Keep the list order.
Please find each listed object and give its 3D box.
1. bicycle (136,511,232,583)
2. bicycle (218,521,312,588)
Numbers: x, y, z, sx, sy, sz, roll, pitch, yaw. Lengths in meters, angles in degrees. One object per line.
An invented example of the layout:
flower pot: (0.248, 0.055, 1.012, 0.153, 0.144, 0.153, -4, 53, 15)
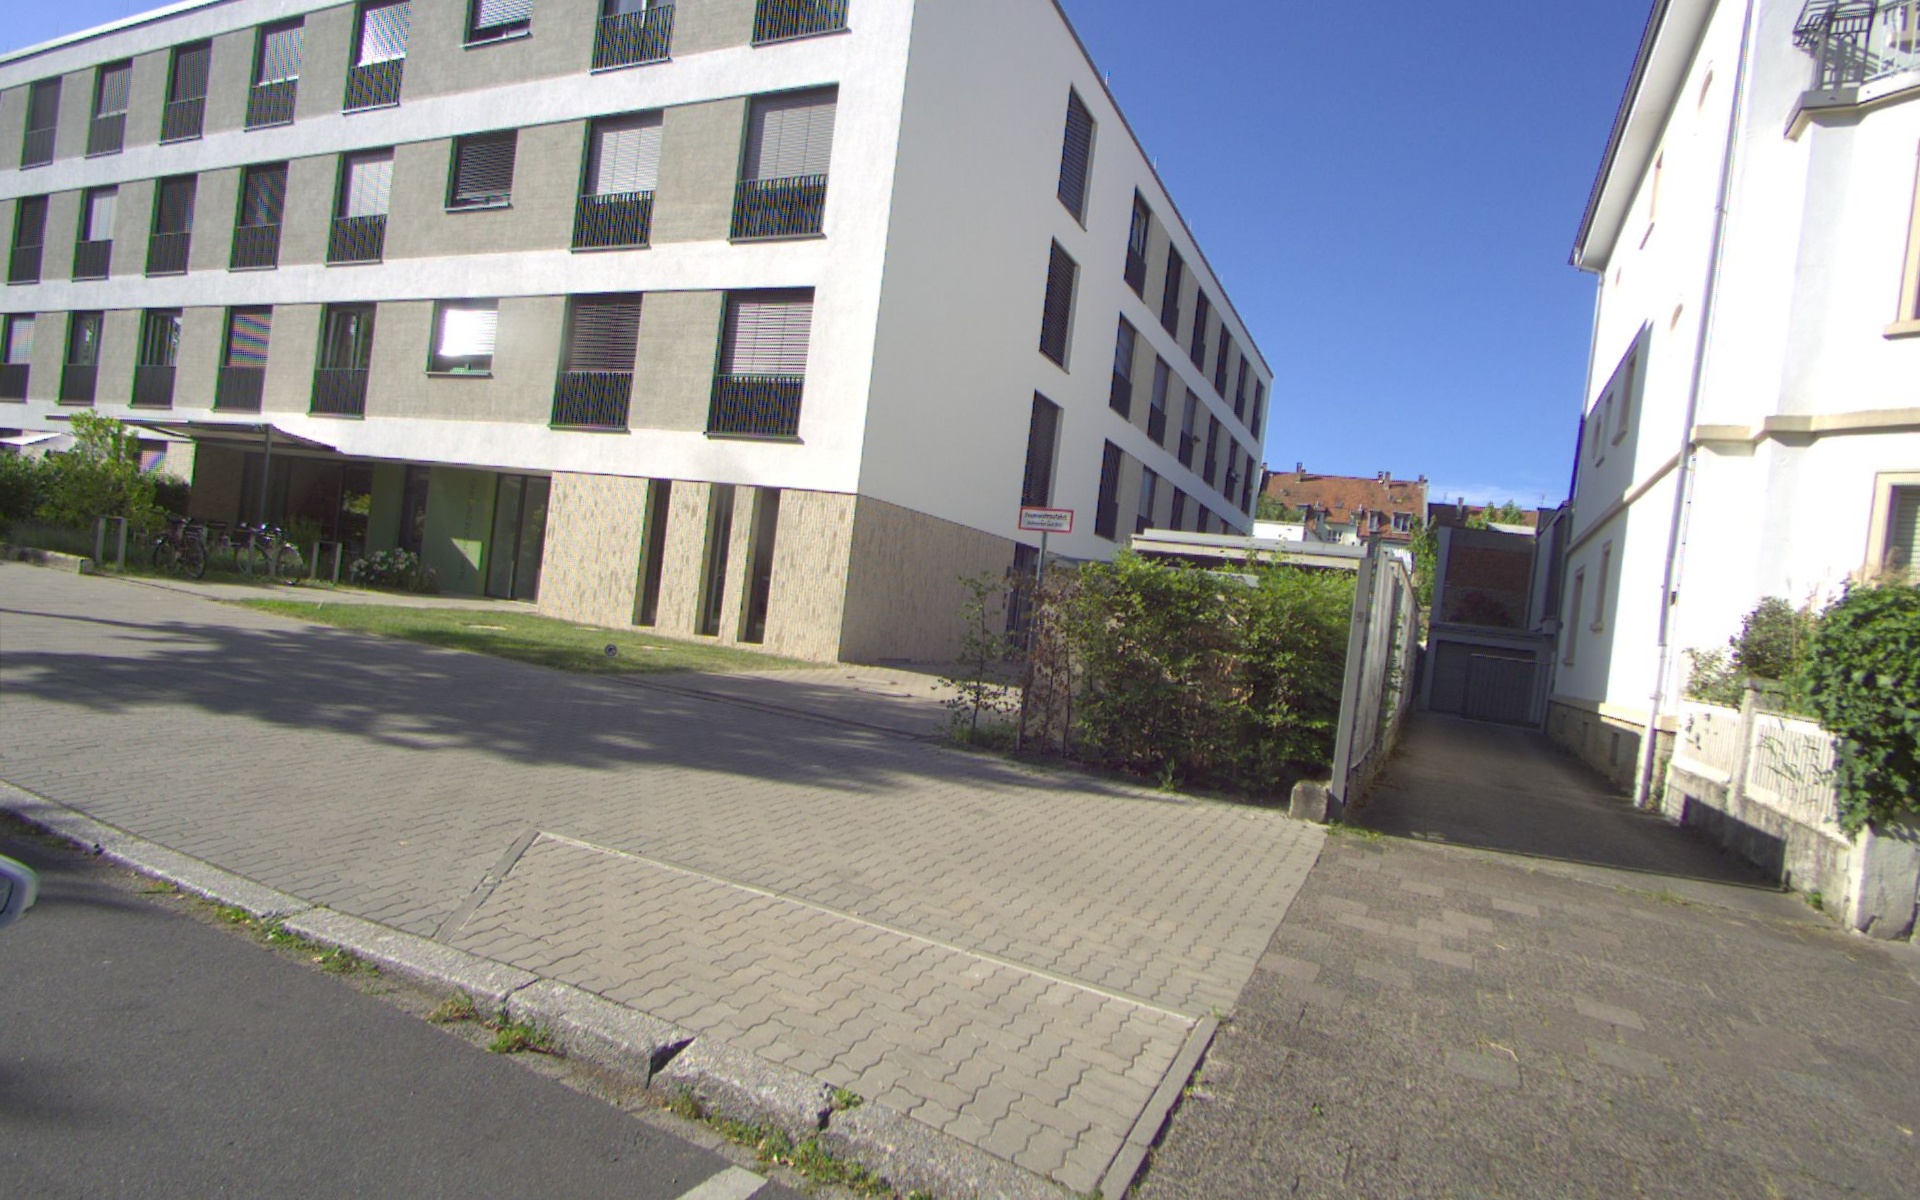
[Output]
bicycle: (-13.614, -0.931, 17.643, 1.661, 1.068, 0.547, 7, 2, 24)
bicycle: (-13.056, -0.859, 18.889, 1.748, 1.068, 0.547, 7, 2, 24)
